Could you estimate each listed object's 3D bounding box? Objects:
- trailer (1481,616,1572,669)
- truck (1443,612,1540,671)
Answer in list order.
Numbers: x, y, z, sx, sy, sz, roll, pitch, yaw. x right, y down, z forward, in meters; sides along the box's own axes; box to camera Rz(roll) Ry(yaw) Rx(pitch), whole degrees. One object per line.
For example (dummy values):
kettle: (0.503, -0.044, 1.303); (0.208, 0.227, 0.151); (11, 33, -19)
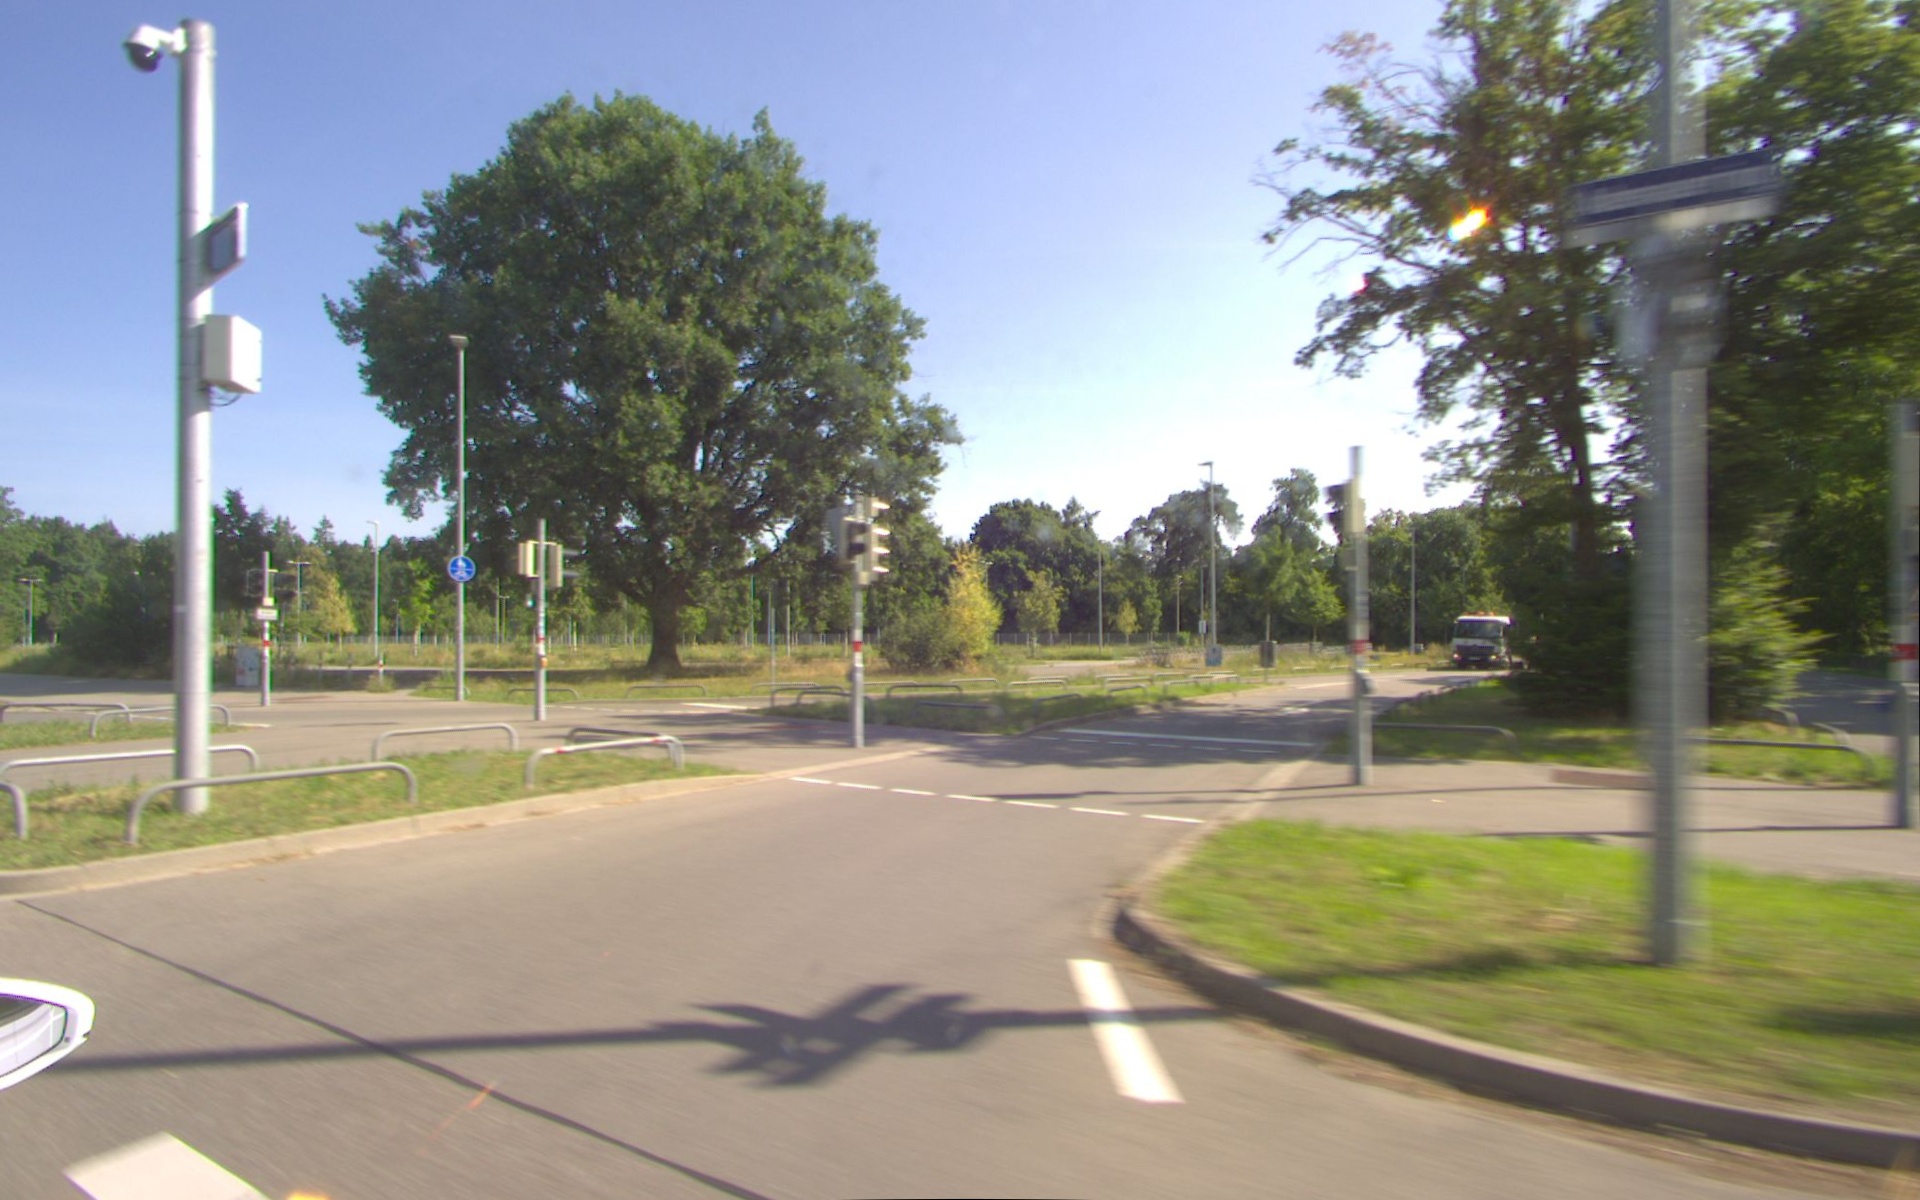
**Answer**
trailer: (31.064, 2.312, 54.799); (2.676, 2.721, 6.828); (-2, -3, 44)
truck: (26.646, 2.073, 50.092); (2.653, 2.752, 6.148); (-2, -3, 44)
